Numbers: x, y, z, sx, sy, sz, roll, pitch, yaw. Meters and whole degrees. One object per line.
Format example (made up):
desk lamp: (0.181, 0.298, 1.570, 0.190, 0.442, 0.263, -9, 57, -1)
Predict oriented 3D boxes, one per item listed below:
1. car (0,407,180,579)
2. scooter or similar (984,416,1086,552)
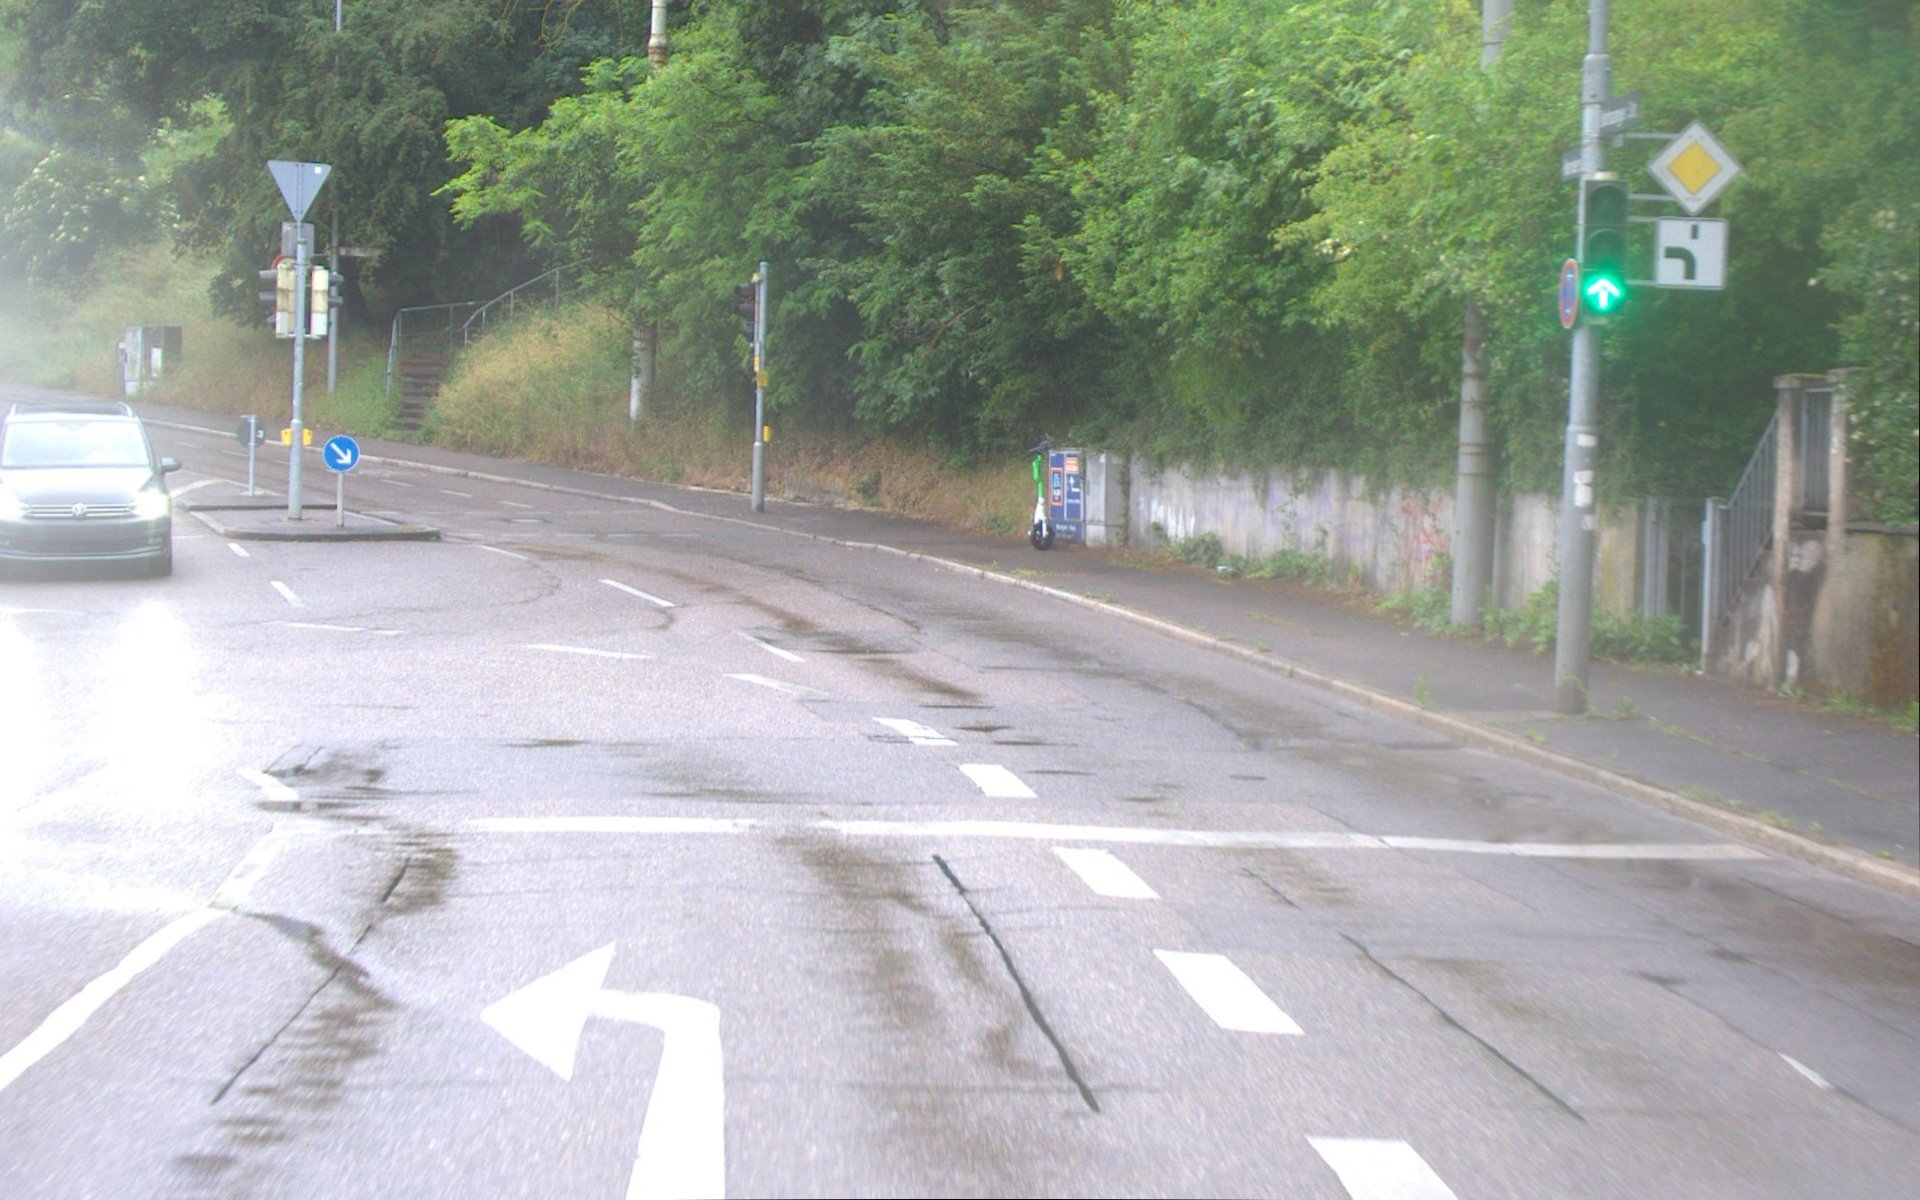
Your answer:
car: (-8.757, -1.122, 34.501, 1.740, 1.544, 4.002, -2, 4, -13)
scooter or similar: (0.842, -1.346, 39.221, 0.616, 1.416, 2.160, -2, 6, -14)
